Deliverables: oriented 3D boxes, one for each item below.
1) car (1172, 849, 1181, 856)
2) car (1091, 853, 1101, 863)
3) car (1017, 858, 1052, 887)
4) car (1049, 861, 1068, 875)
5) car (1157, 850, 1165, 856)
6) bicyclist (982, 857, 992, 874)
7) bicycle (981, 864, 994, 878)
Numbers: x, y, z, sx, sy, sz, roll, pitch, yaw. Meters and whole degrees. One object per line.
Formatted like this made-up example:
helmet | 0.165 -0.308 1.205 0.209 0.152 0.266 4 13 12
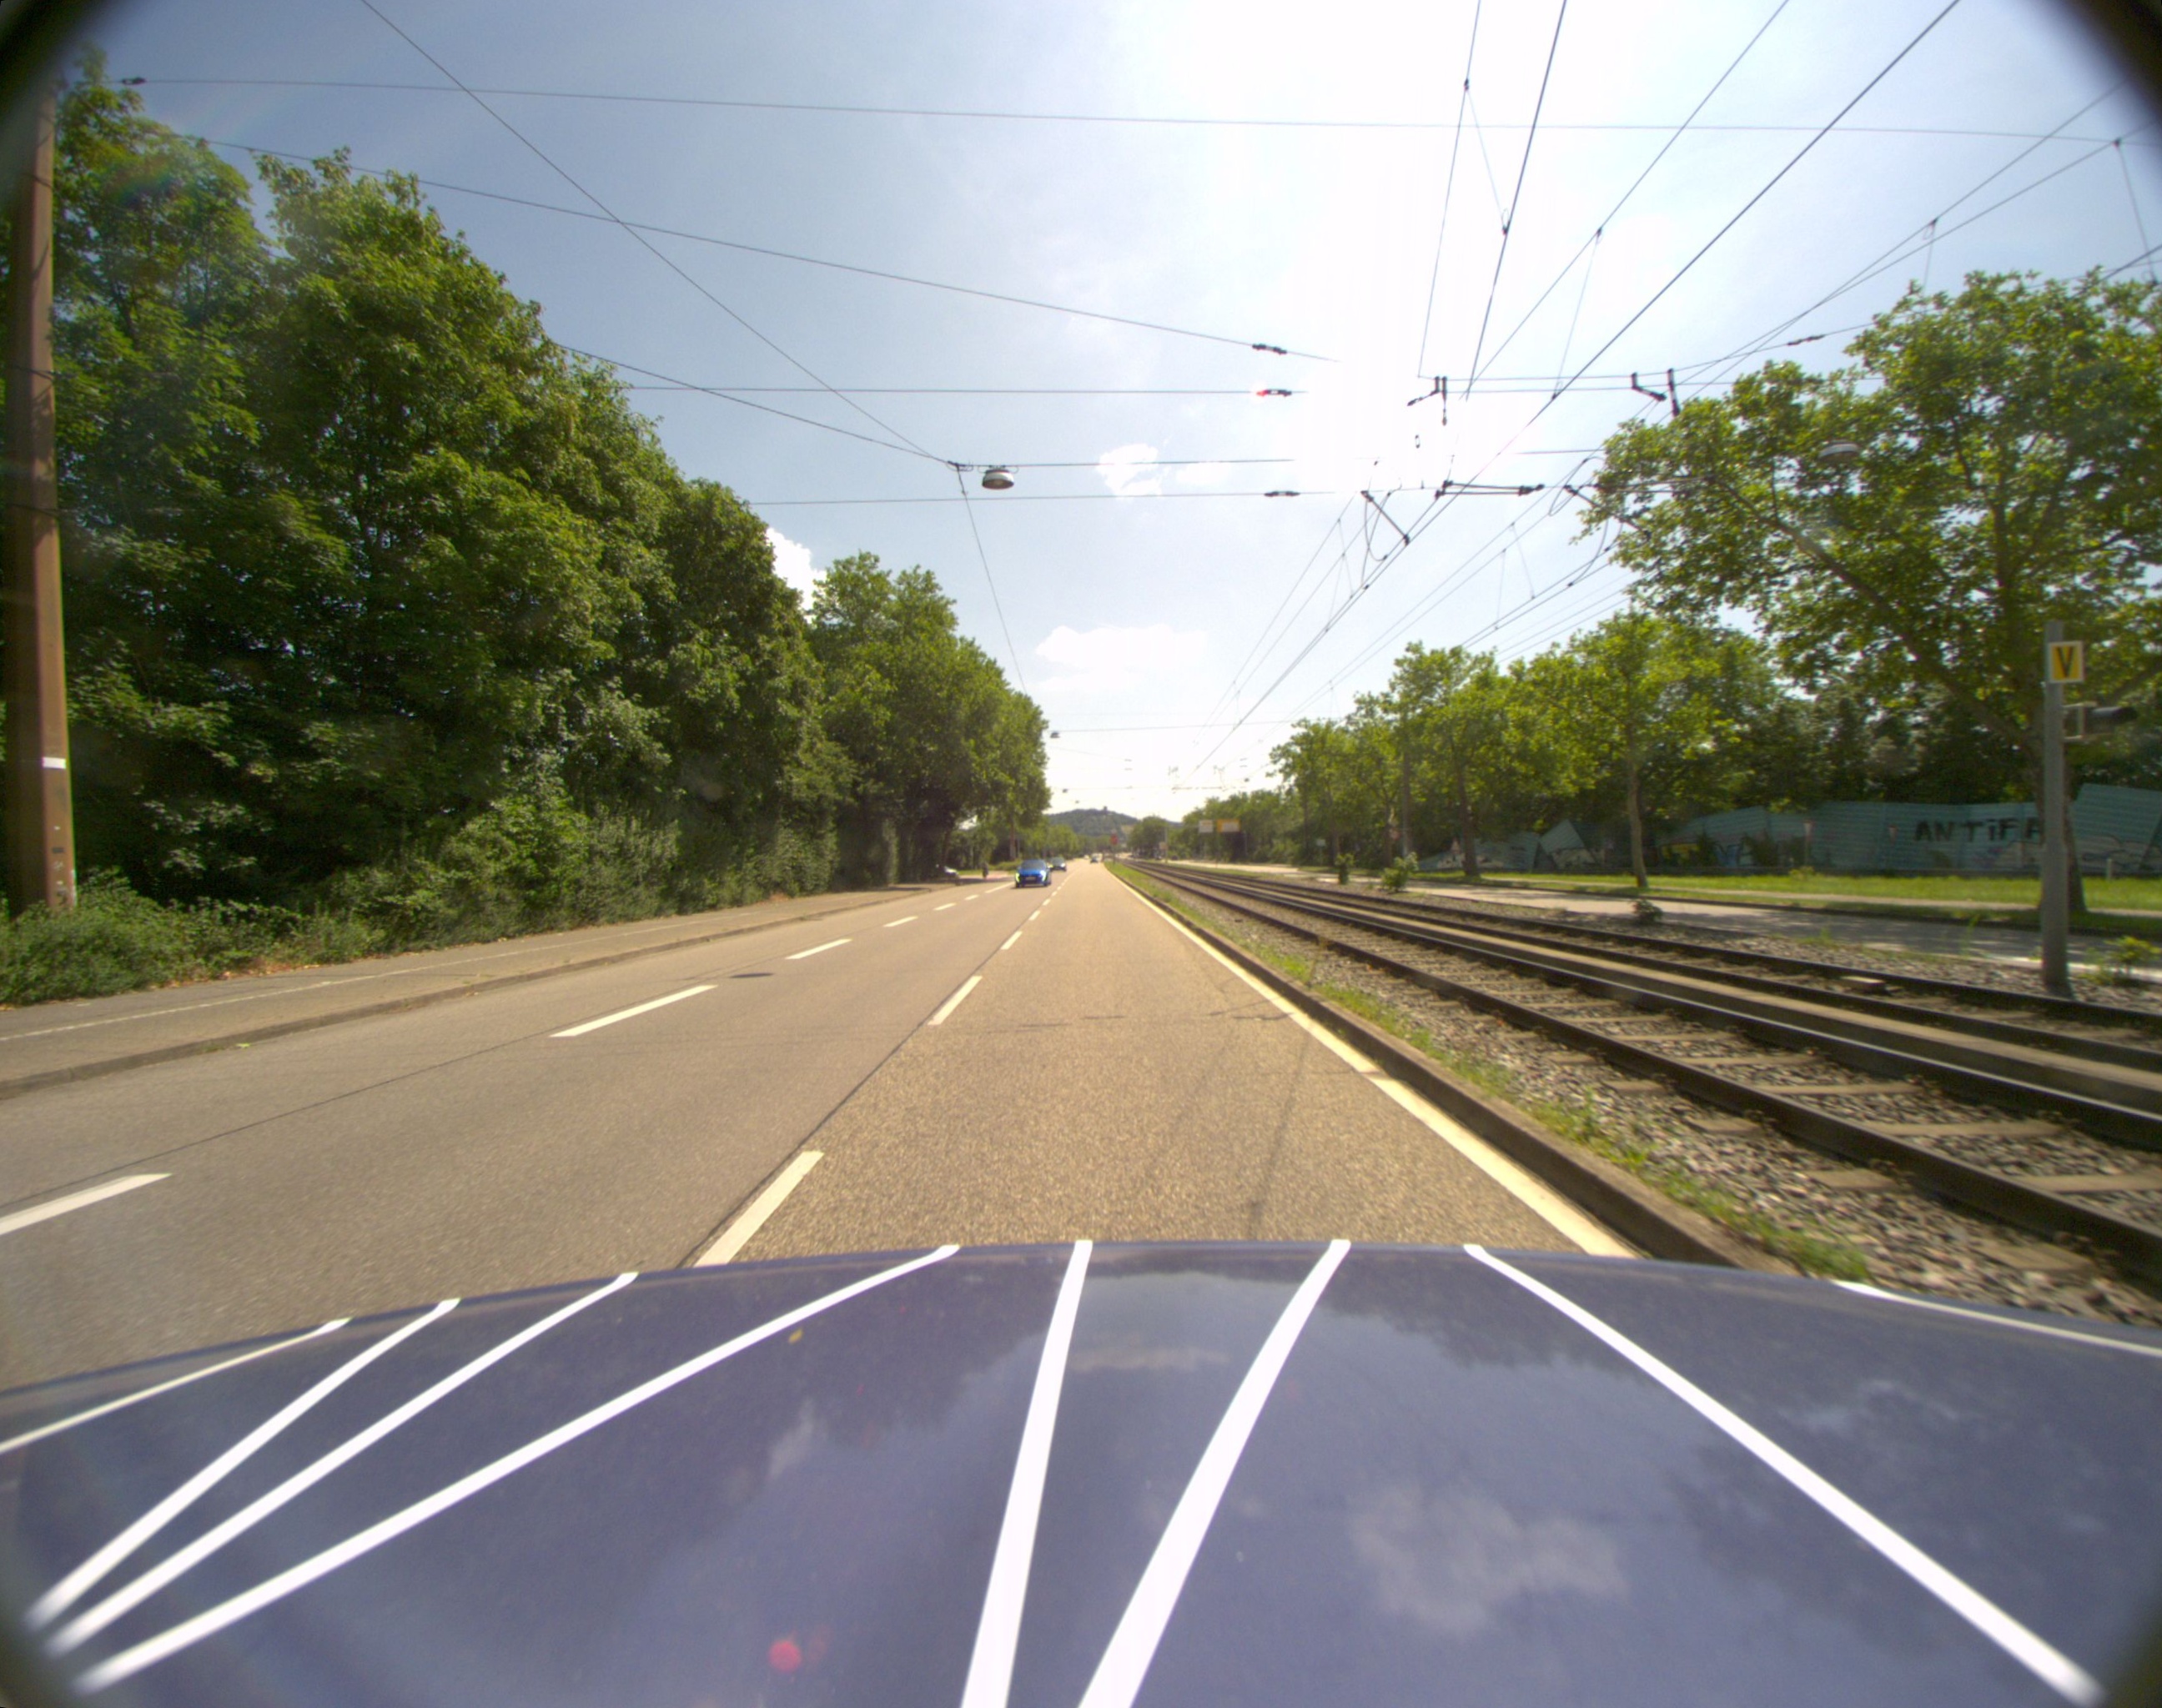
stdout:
car | 26.478 -0.333 209.984 1.998 1.783 3.999 -2 1 1
car | 3.343 0.904 167.581 1.998 2.002 3.999 -2 1 1
car | -2.508 1.000 41.723 1.660 1.397 3.743 -2 1 0
car | -2.420 1.502 82.651 1.769 1.359 3.743 -2 1 1
car | 23.368 -0.323 221.344 1.998 1.783 3.999 -2 1 1
bicyclist | -8.280 0.995 66.913 0.704 1.431 0.641 -1 1 2
bicycle | -8.270 1.470 67.059 0.710 1.131 2.538 -1 0 3
